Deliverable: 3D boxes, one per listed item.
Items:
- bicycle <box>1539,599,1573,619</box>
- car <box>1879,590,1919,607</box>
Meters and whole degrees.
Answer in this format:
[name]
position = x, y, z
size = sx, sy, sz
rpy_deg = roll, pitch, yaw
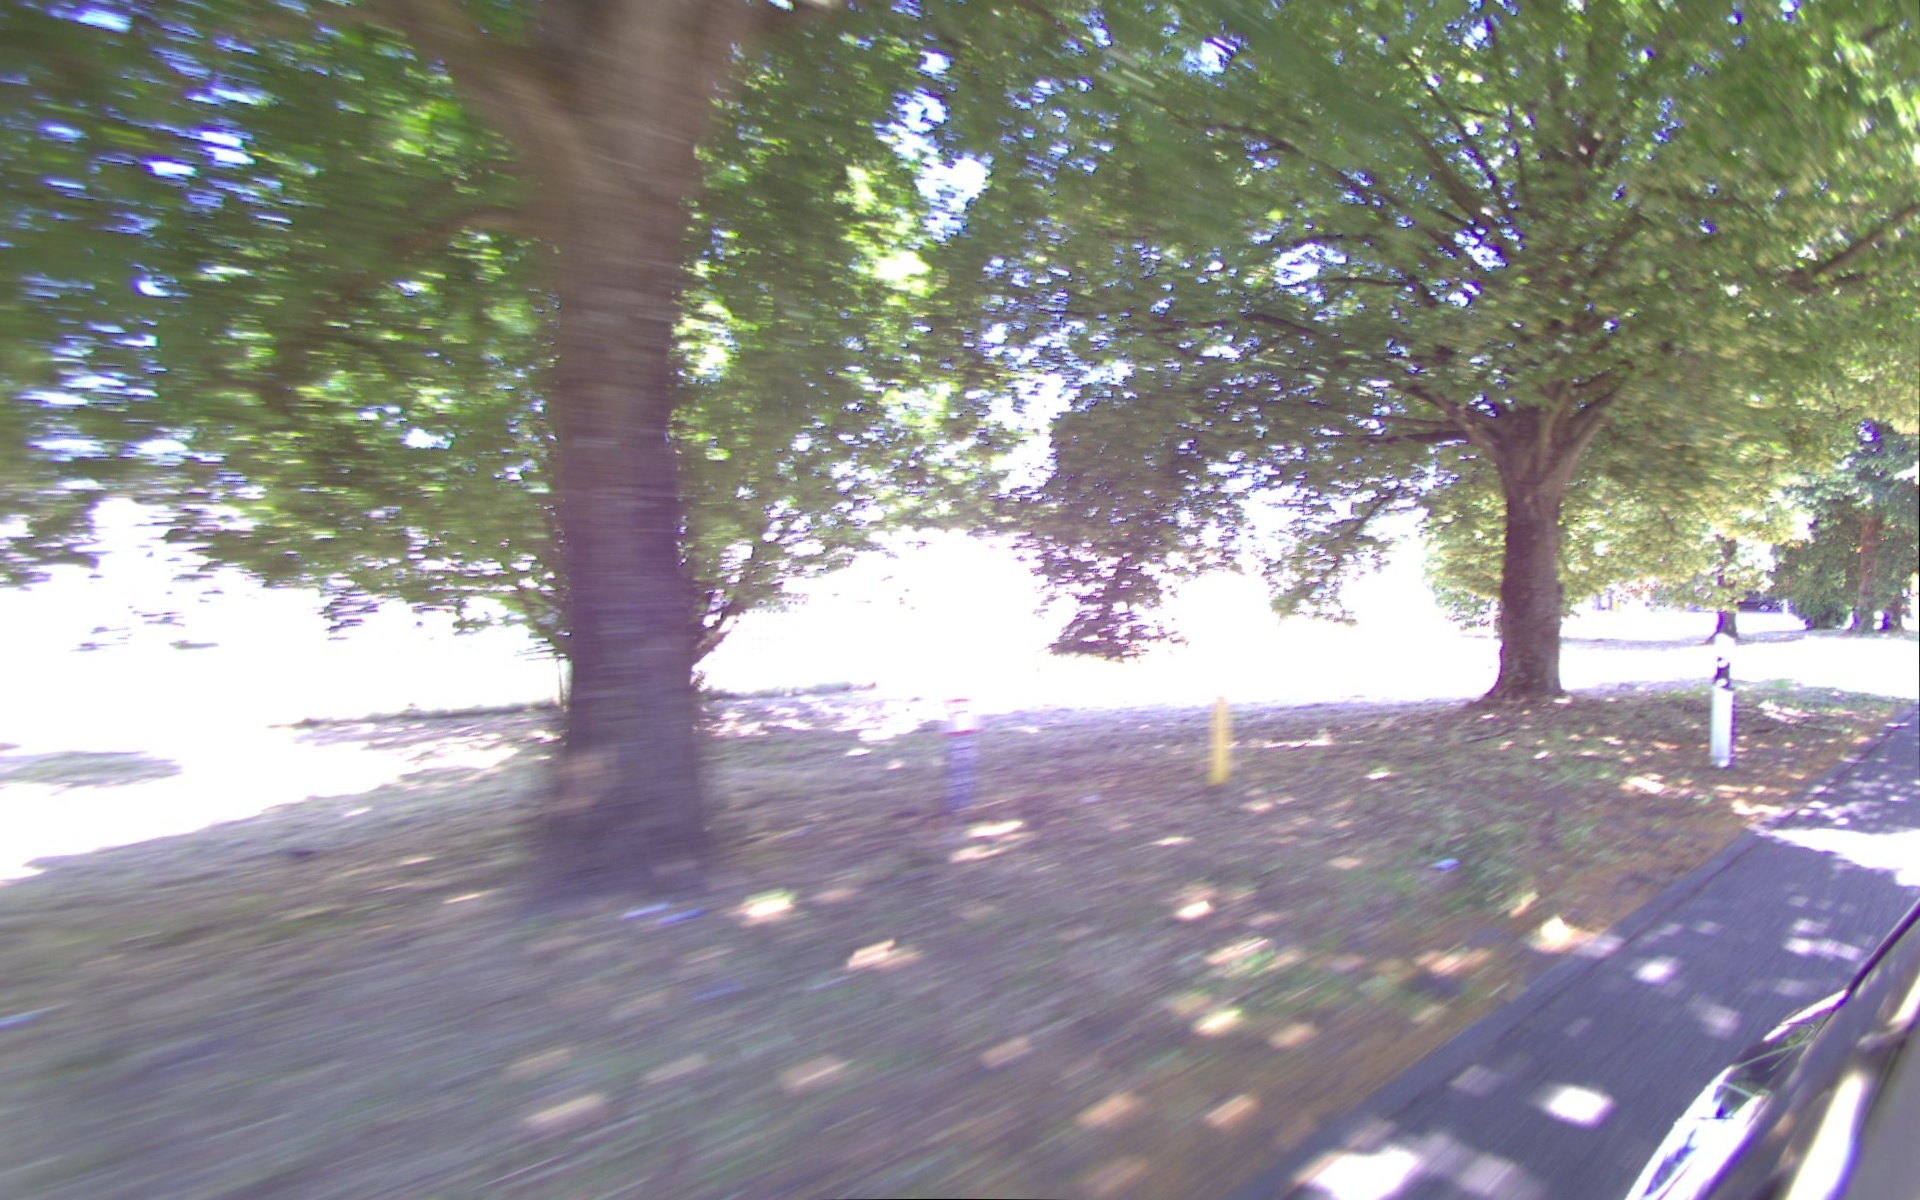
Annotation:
[bicycle]
position = 35.080, 0.504, 59.578
size = 0.459, 1.111, 1.696
rpy_deg = 0, 1, -41
[car]
position = 95.292, -0.164, 101.740
size = 4.223, 1.553, 1.928
rpy_deg = 3, 2, 42
